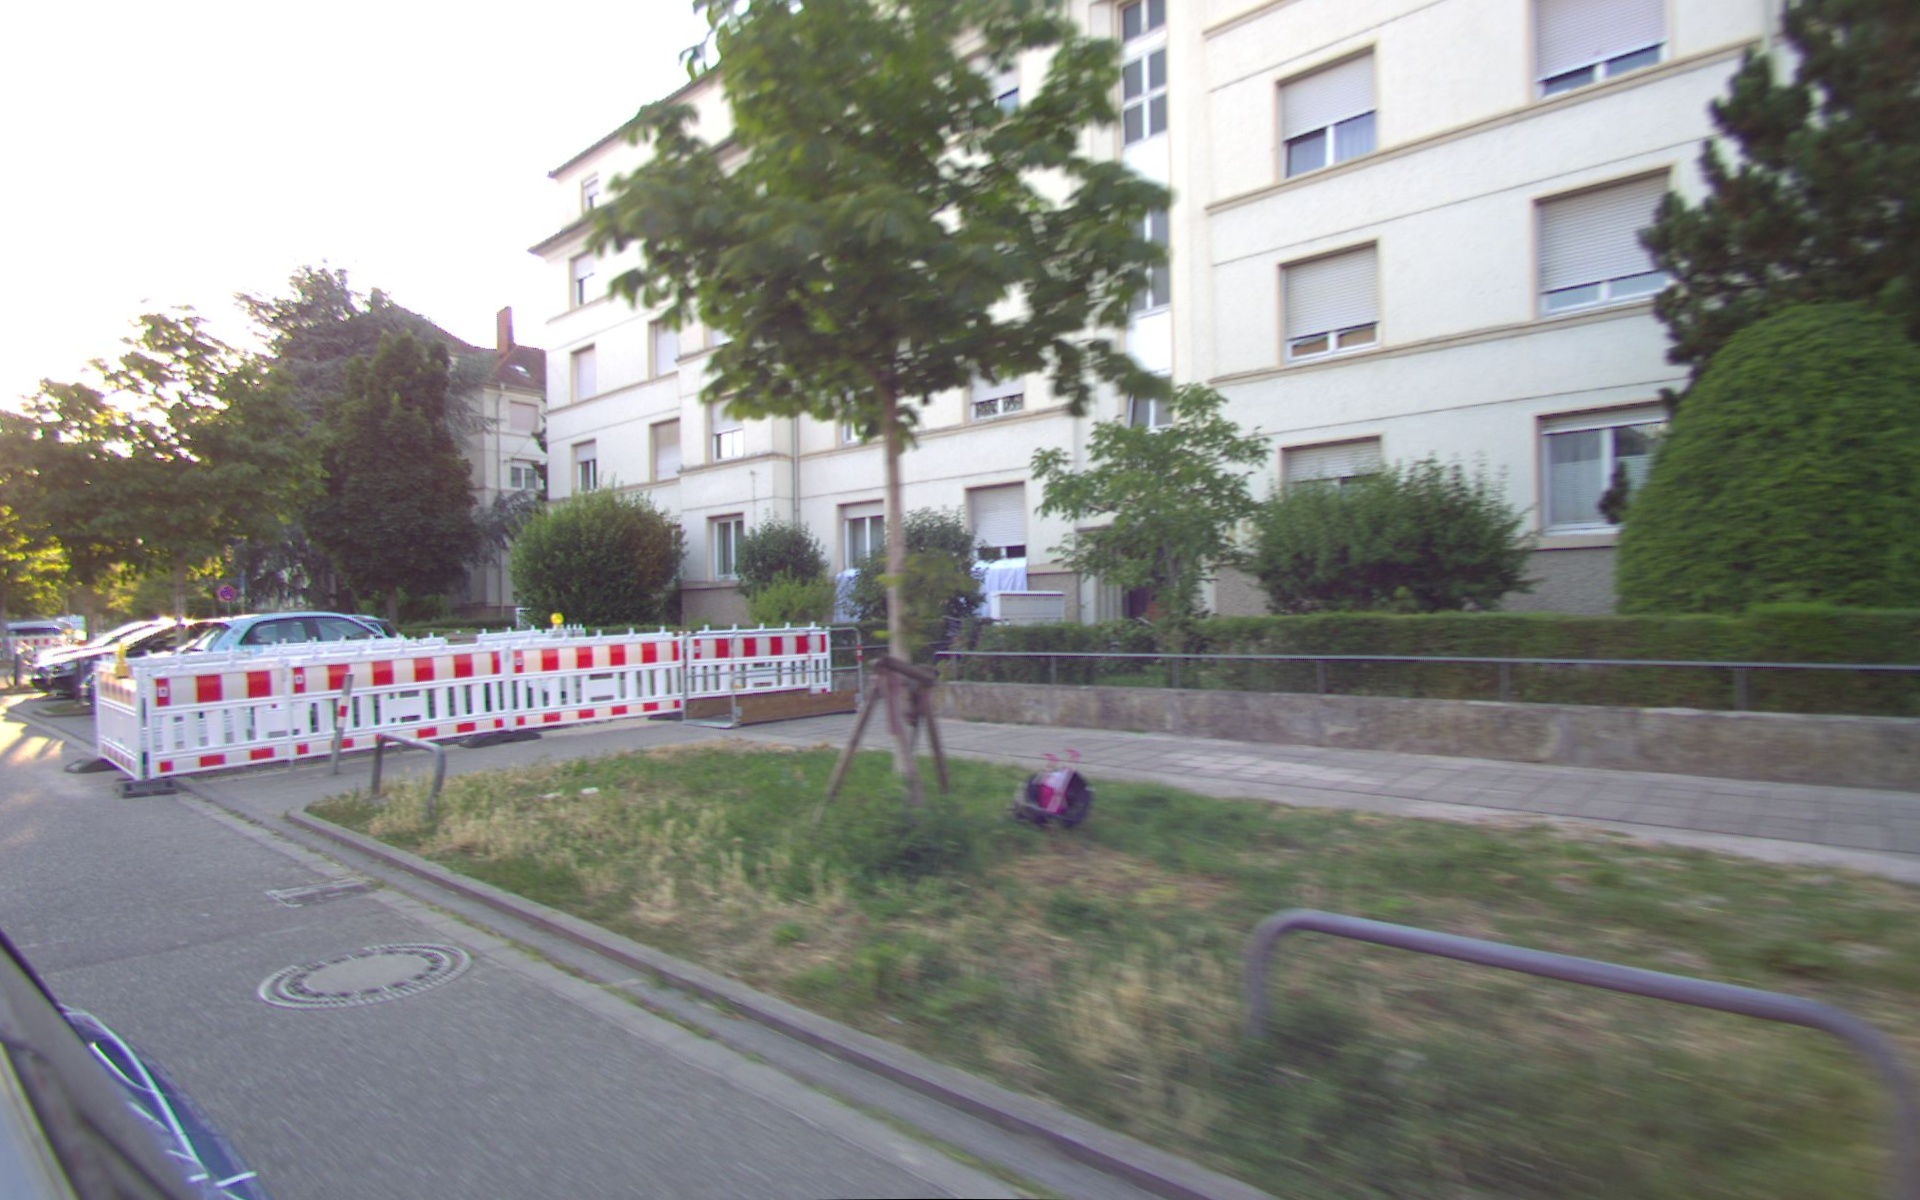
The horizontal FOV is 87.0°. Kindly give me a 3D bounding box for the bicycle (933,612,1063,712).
[{"bbox_3d":[0.541,0.781,13.451,0.540,1.195,2.007,-2,0,42],"label":"bicycle"}]

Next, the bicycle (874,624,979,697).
[{"bbox_3d":[-0.487,0.892,15.427,0.360,0.999,1.900,-2,0,42],"label":"bicycle"}]

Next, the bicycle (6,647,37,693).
[{"bbox_3d":[-23.794,1.763,25.652,1.628,1.104,0.442,-2,-1,42],"label":"bicycle"}]

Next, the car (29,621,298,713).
[{"bbox_3d":[-15.767,1.254,20.177,1.728,1.495,3.987,-2,0,44],"label":"car"}]

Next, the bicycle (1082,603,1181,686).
[{"bbox_3d":[2.709,0.665,15.823,0.490,1.195,2.007,-2,0,42],"label":"bicycle"}]

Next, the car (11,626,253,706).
[{"bbox_3d":[-17.669,1.354,21.725,1.606,1.395,3.801,-2,0,42],"label":"car"}]

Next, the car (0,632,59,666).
[{"bbox_3d":[-50.631,2.612,53.763,4.072,1.696,2.002,0,-1,-44],"label":"car"}]

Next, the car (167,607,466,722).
[{"bbox_3d":[-10.143,0.934,16.151,1.726,1.495,3.663,-2,0,40],"label":"car"}]

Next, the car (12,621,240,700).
[{"bbox_3d":[-19.532,1.354,23.805,1.728,1.553,3.943,-2,0,44],"label":"car"}]

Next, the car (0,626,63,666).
[{"bbox_3d":[-52.414,2.530,55.534,4.719,2.085,2.002,0,-1,-44],"label":"car"}]

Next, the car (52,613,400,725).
[{"bbox_3d":[-12.254,1.064,17.230,1.723,1.495,4.472,-2,0,33],"label":"car"}]
